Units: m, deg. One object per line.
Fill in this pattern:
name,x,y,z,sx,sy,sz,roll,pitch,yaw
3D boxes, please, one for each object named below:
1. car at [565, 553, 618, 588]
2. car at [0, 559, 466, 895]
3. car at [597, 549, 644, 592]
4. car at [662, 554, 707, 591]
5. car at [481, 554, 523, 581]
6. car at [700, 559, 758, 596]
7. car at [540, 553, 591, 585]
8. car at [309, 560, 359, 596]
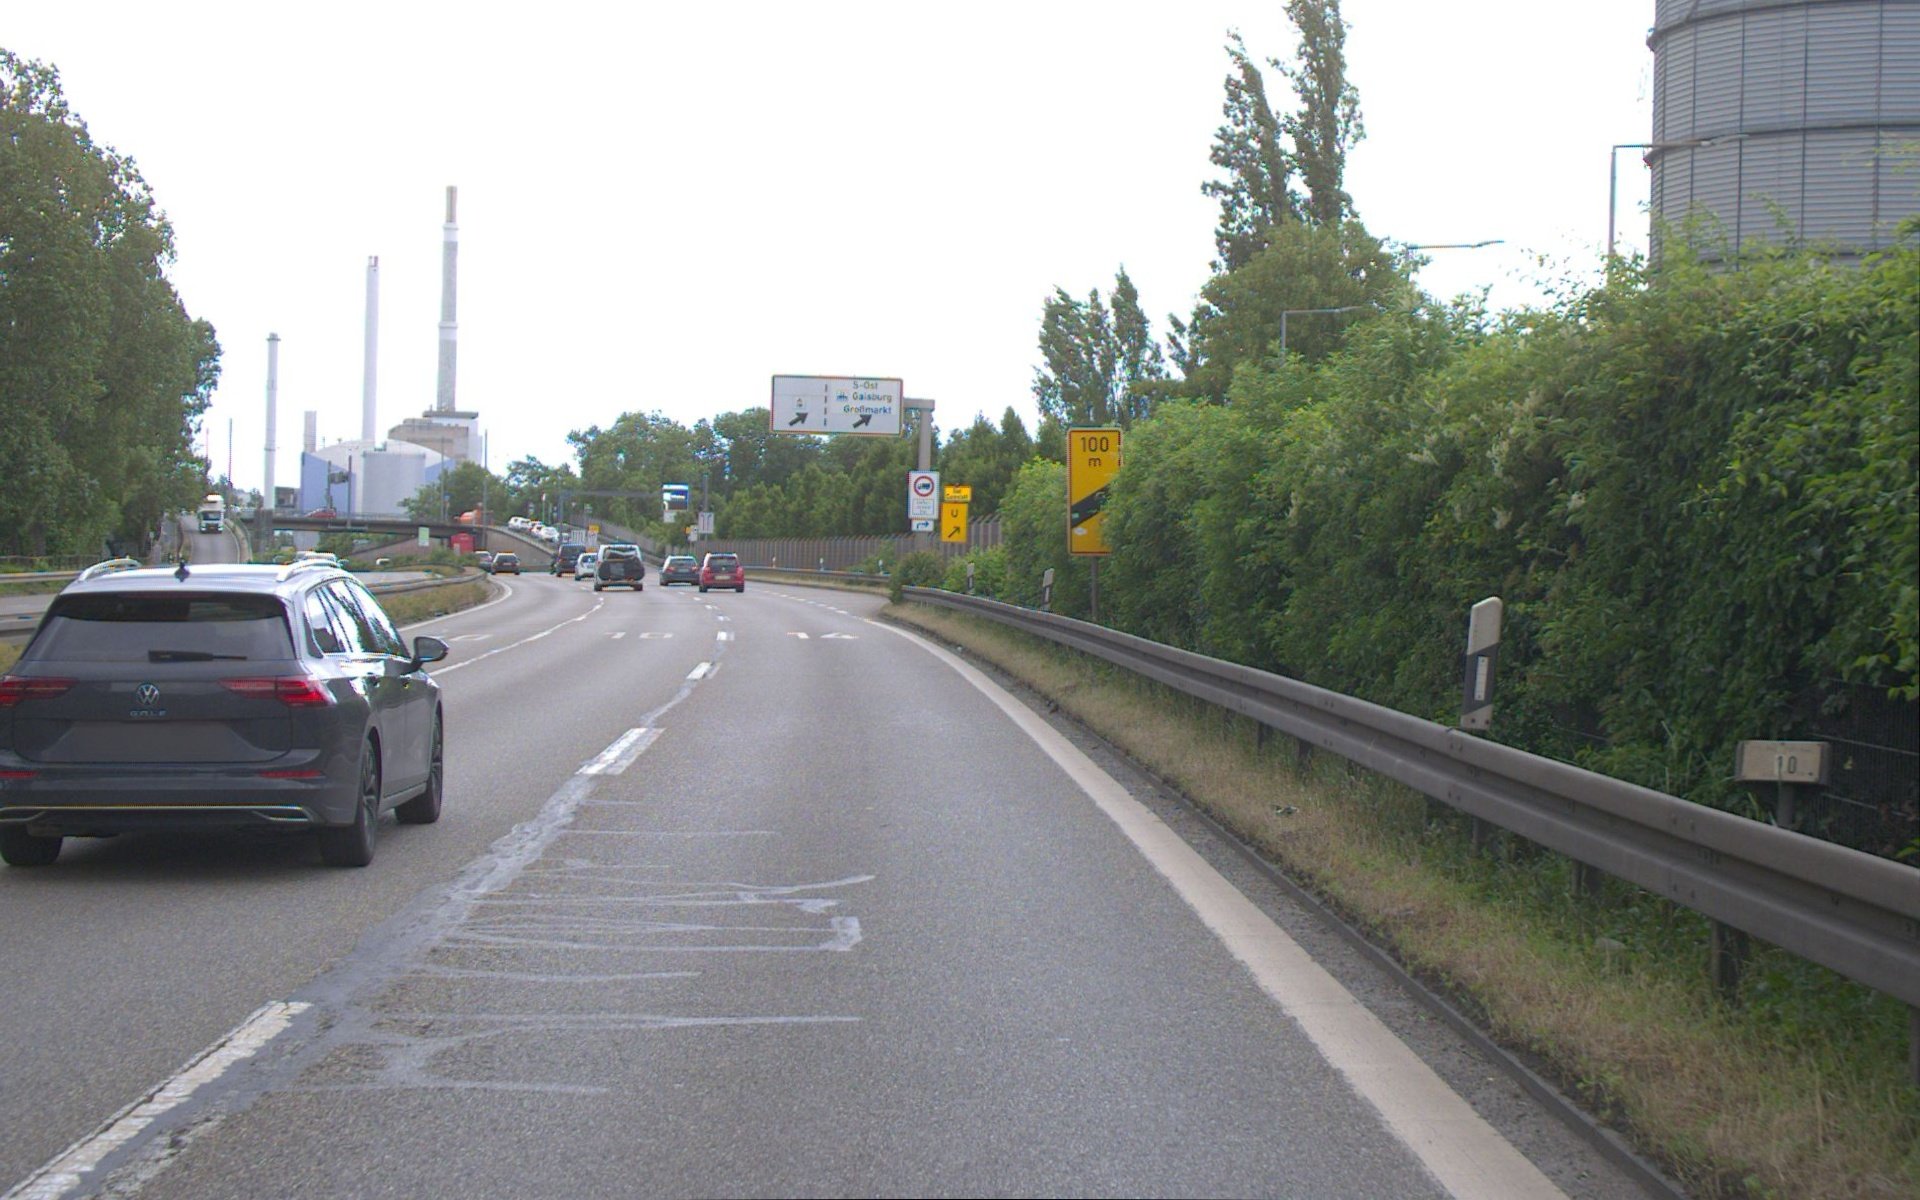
car,-20.631,-1.639,192.091,2.013,1.927,4.902,0,1,-17
car,-3.714,0.532,17.598,1.845,1.418,4.901,2,1,-3
car,-13.790,-1.202,139.499,1.697,1.736,4.001,0,1,-9
car,-13.251,-1.330,164.993,1.697,1.736,4.394,0,1,-11
car,-30.003,-2.124,225.175,1.697,1.736,4.394,0,1,-21
car,-9.194,-0.916,136.577,1.974,1.418,4.902,0,1,-8
car,-24.161,-1.880,210.371,2.013,1.927,4.902,0,1,-20
car,-25.535,-0.915,140.245,1.614,1.381,3.733,1,1,-5
